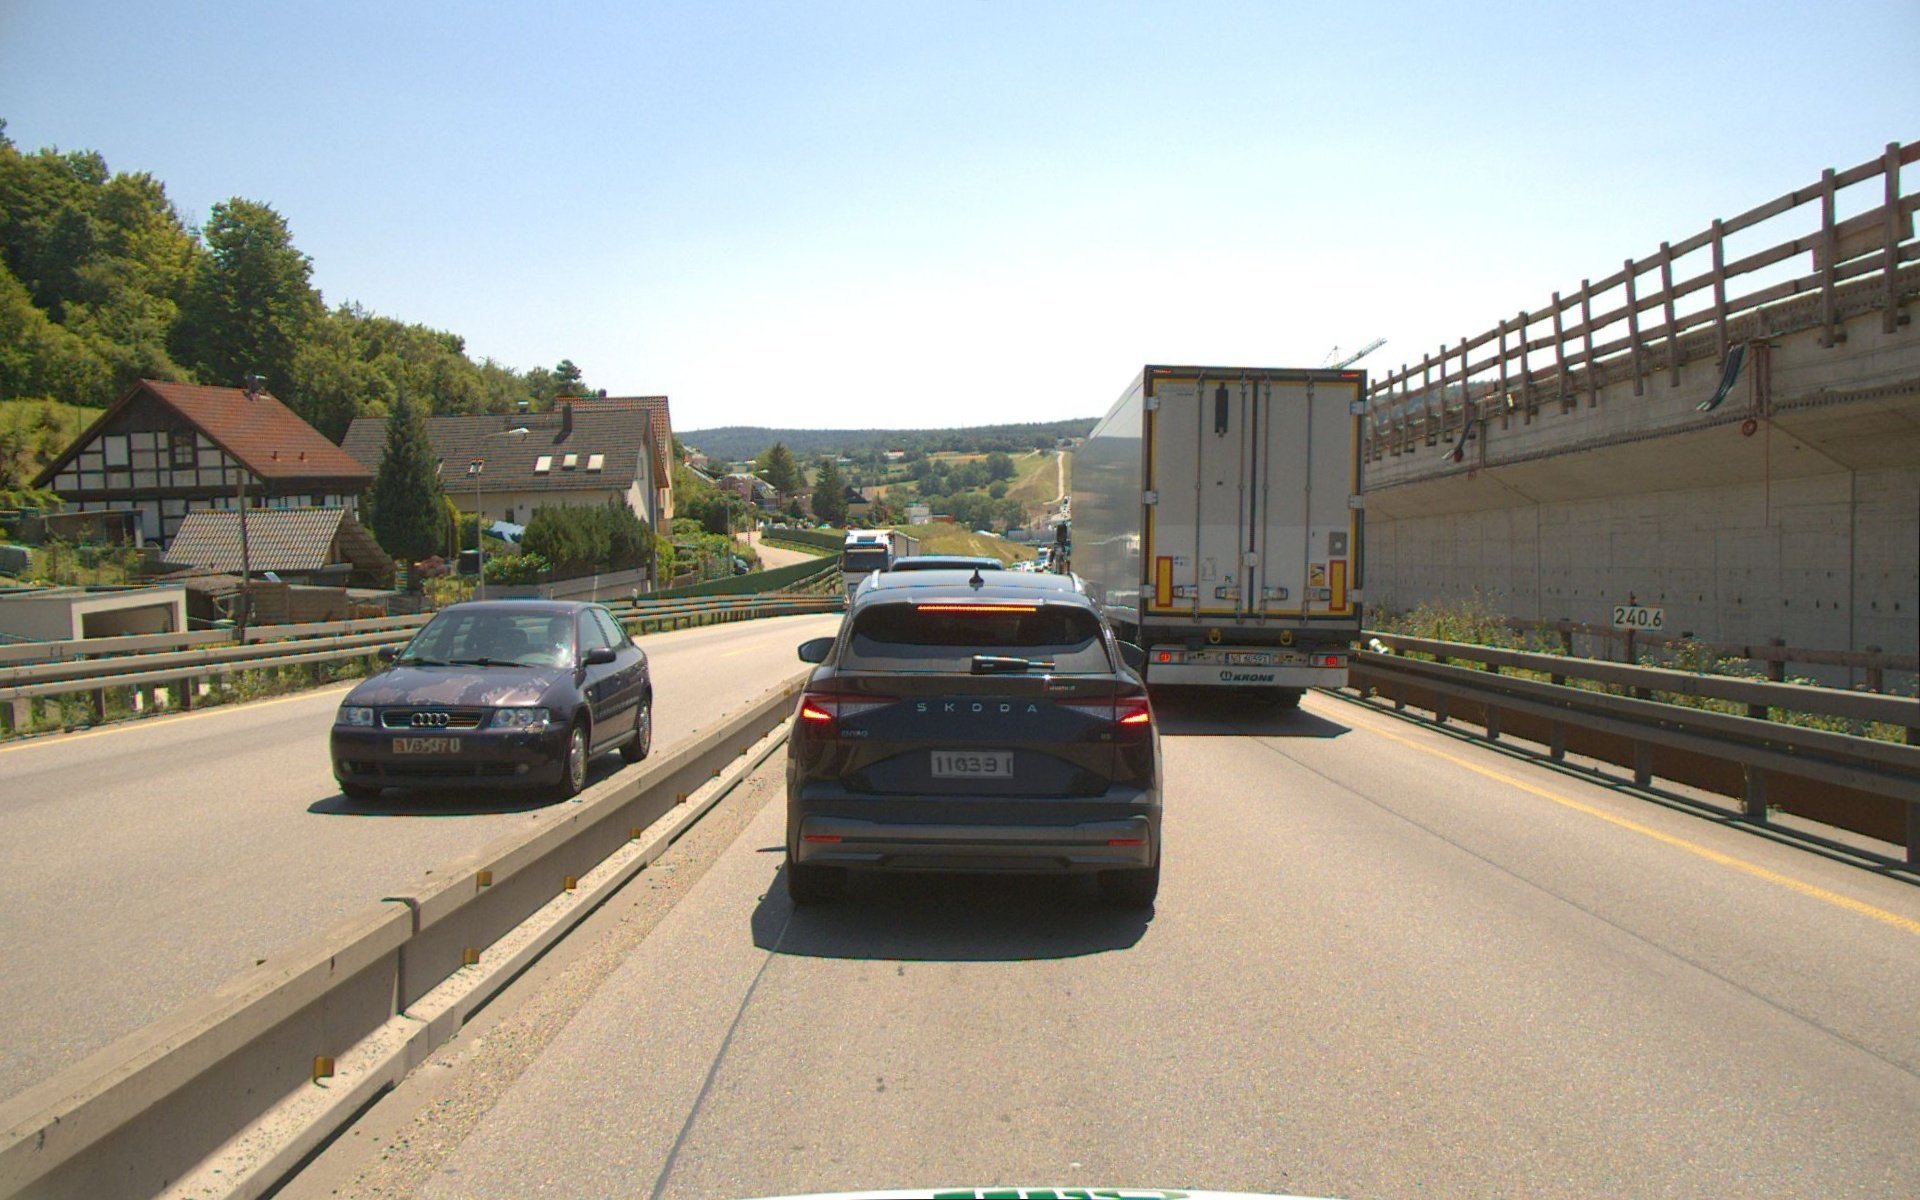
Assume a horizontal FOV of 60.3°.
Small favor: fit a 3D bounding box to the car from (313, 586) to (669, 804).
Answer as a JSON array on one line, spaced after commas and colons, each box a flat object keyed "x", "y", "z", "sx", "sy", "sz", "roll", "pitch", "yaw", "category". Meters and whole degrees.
[{"x": -3.523, "y": 0.626, "z": 13.192, "sx": 1.683, "sy": 1.433, "sz": 4.000, "roll": -1, "pitch": 1, "yaw": 0, "category": "car"}]

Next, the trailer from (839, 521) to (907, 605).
[{"x": -4.488, "y": -1.949, "z": 86.937, "sx": 2.699, "sy": 4.141, "sz": 8.011, "roll": 1, "pitch": 1, "yaw": 3, "category": "trailer"}]

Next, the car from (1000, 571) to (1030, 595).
[{"x": 3.796, "y": -1.162, "z": 114.352, "sx": 1.953, "sy": 1.613, "sz": 3.836, "roll": 1, "pitch": 0, "yaw": 0, "category": "car"}]

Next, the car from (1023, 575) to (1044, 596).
[{"x": 6.226, "y": -1.219, "z": 140.064, "sx": 1.665, "sy": 1.758, "sz": 3.838, "roll": 1, "pitch": 0, "yaw": 4, "category": "car"}]

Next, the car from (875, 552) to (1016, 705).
[{"x": -0.281, "y": 0.320, "z": 22.887, "sx": 1.673, "sy": 1.914, "sz": 3.997, "roll": 1, "pitch": 1, "yaw": -4, "category": "car"}]

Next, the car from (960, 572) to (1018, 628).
[{"x": 0.881, "y": -0.032, "z": 52.203, "sx": 1.672, "sy": 1.650, "sz": 4.000, "roll": 1, "pitch": 1, "yaw": -1, "category": "car"}]

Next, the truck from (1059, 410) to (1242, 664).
[{"x": 3.355, "y": -1.008, "z": 31.055, "sx": 2.462, "sy": 4.095, "sz": 8.237, "roll": 1, "pitch": 0, "yaw": 0, "category": "truck"}]

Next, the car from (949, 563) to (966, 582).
[{"x": -0.247, "y": -2.664, "z": 160.082, "sx": 1.666, "sy": 1.758, "sz": 3.836, "roll": 1, "pitch": 0, "yaw": 0, "category": "car"}]

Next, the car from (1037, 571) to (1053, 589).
[{"x": 9.087, "y": -2.125, "z": 176.400, "sx": 1.665, "sy": 1.758, "sz": 3.838, "roll": 1, "pitch": 0, "yaw": 4, "category": "car"}]

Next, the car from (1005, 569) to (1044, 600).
[{"x": 3.517, "y": -0.848, "z": 90.521, "sx": 1.953, "sy": 1.613, "sz": 3.836, "roll": 1, "pitch": 0, "yaw": 0, "category": "car"}]

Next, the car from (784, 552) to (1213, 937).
[{"x": 0.031, "y": 0.631, "z": 8.960, "sx": 1.806, "sy": 1.614, "sz": 3.904, "roll": 1, "pitch": 0, "yaw": -4, "category": "car"}]

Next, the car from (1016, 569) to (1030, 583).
[{"x": 8.302, "y": -3.118, "z": 218.471, "sx": 1.665, "sy": 1.758, "sz": 3.838, "roll": 1, "pitch": 0, "yaw": 4, "category": "car"}]

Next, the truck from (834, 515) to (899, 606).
[{"x": -4.648, "y": -1.964, "z": 83.274, "sx": 2.694, "sy": 4.358, "sz": 4.959, "roll": 1, "pitch": 1, "yaw": 3, "category": "truck"}]

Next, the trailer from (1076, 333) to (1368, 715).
[{"x": 3.318, "y": -0.812, "z": 24.168, "sx": 2.480, "sy": 4.199, "sz": 11.548, "roll": 1, "pitch": 0, "yaw": 0, "category": "trailer"}]

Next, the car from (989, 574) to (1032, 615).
[{"x": 2.149, "y": -0.279, "z": 71.008, "sx": 1.672, "sy": 1.650, "sz": 4.000, "roll": 1, "pitch": 1, "yaw": -1, "category": "car"}]

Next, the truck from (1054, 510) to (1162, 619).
[{"x": 4.800, "y": -1.030, "z": 56.118, "sx": 3.128, "sy": 3.247, "sz": 12.813, "roll": 1, "pitch": 0, "yaw": 3, "category": "truck"}]
